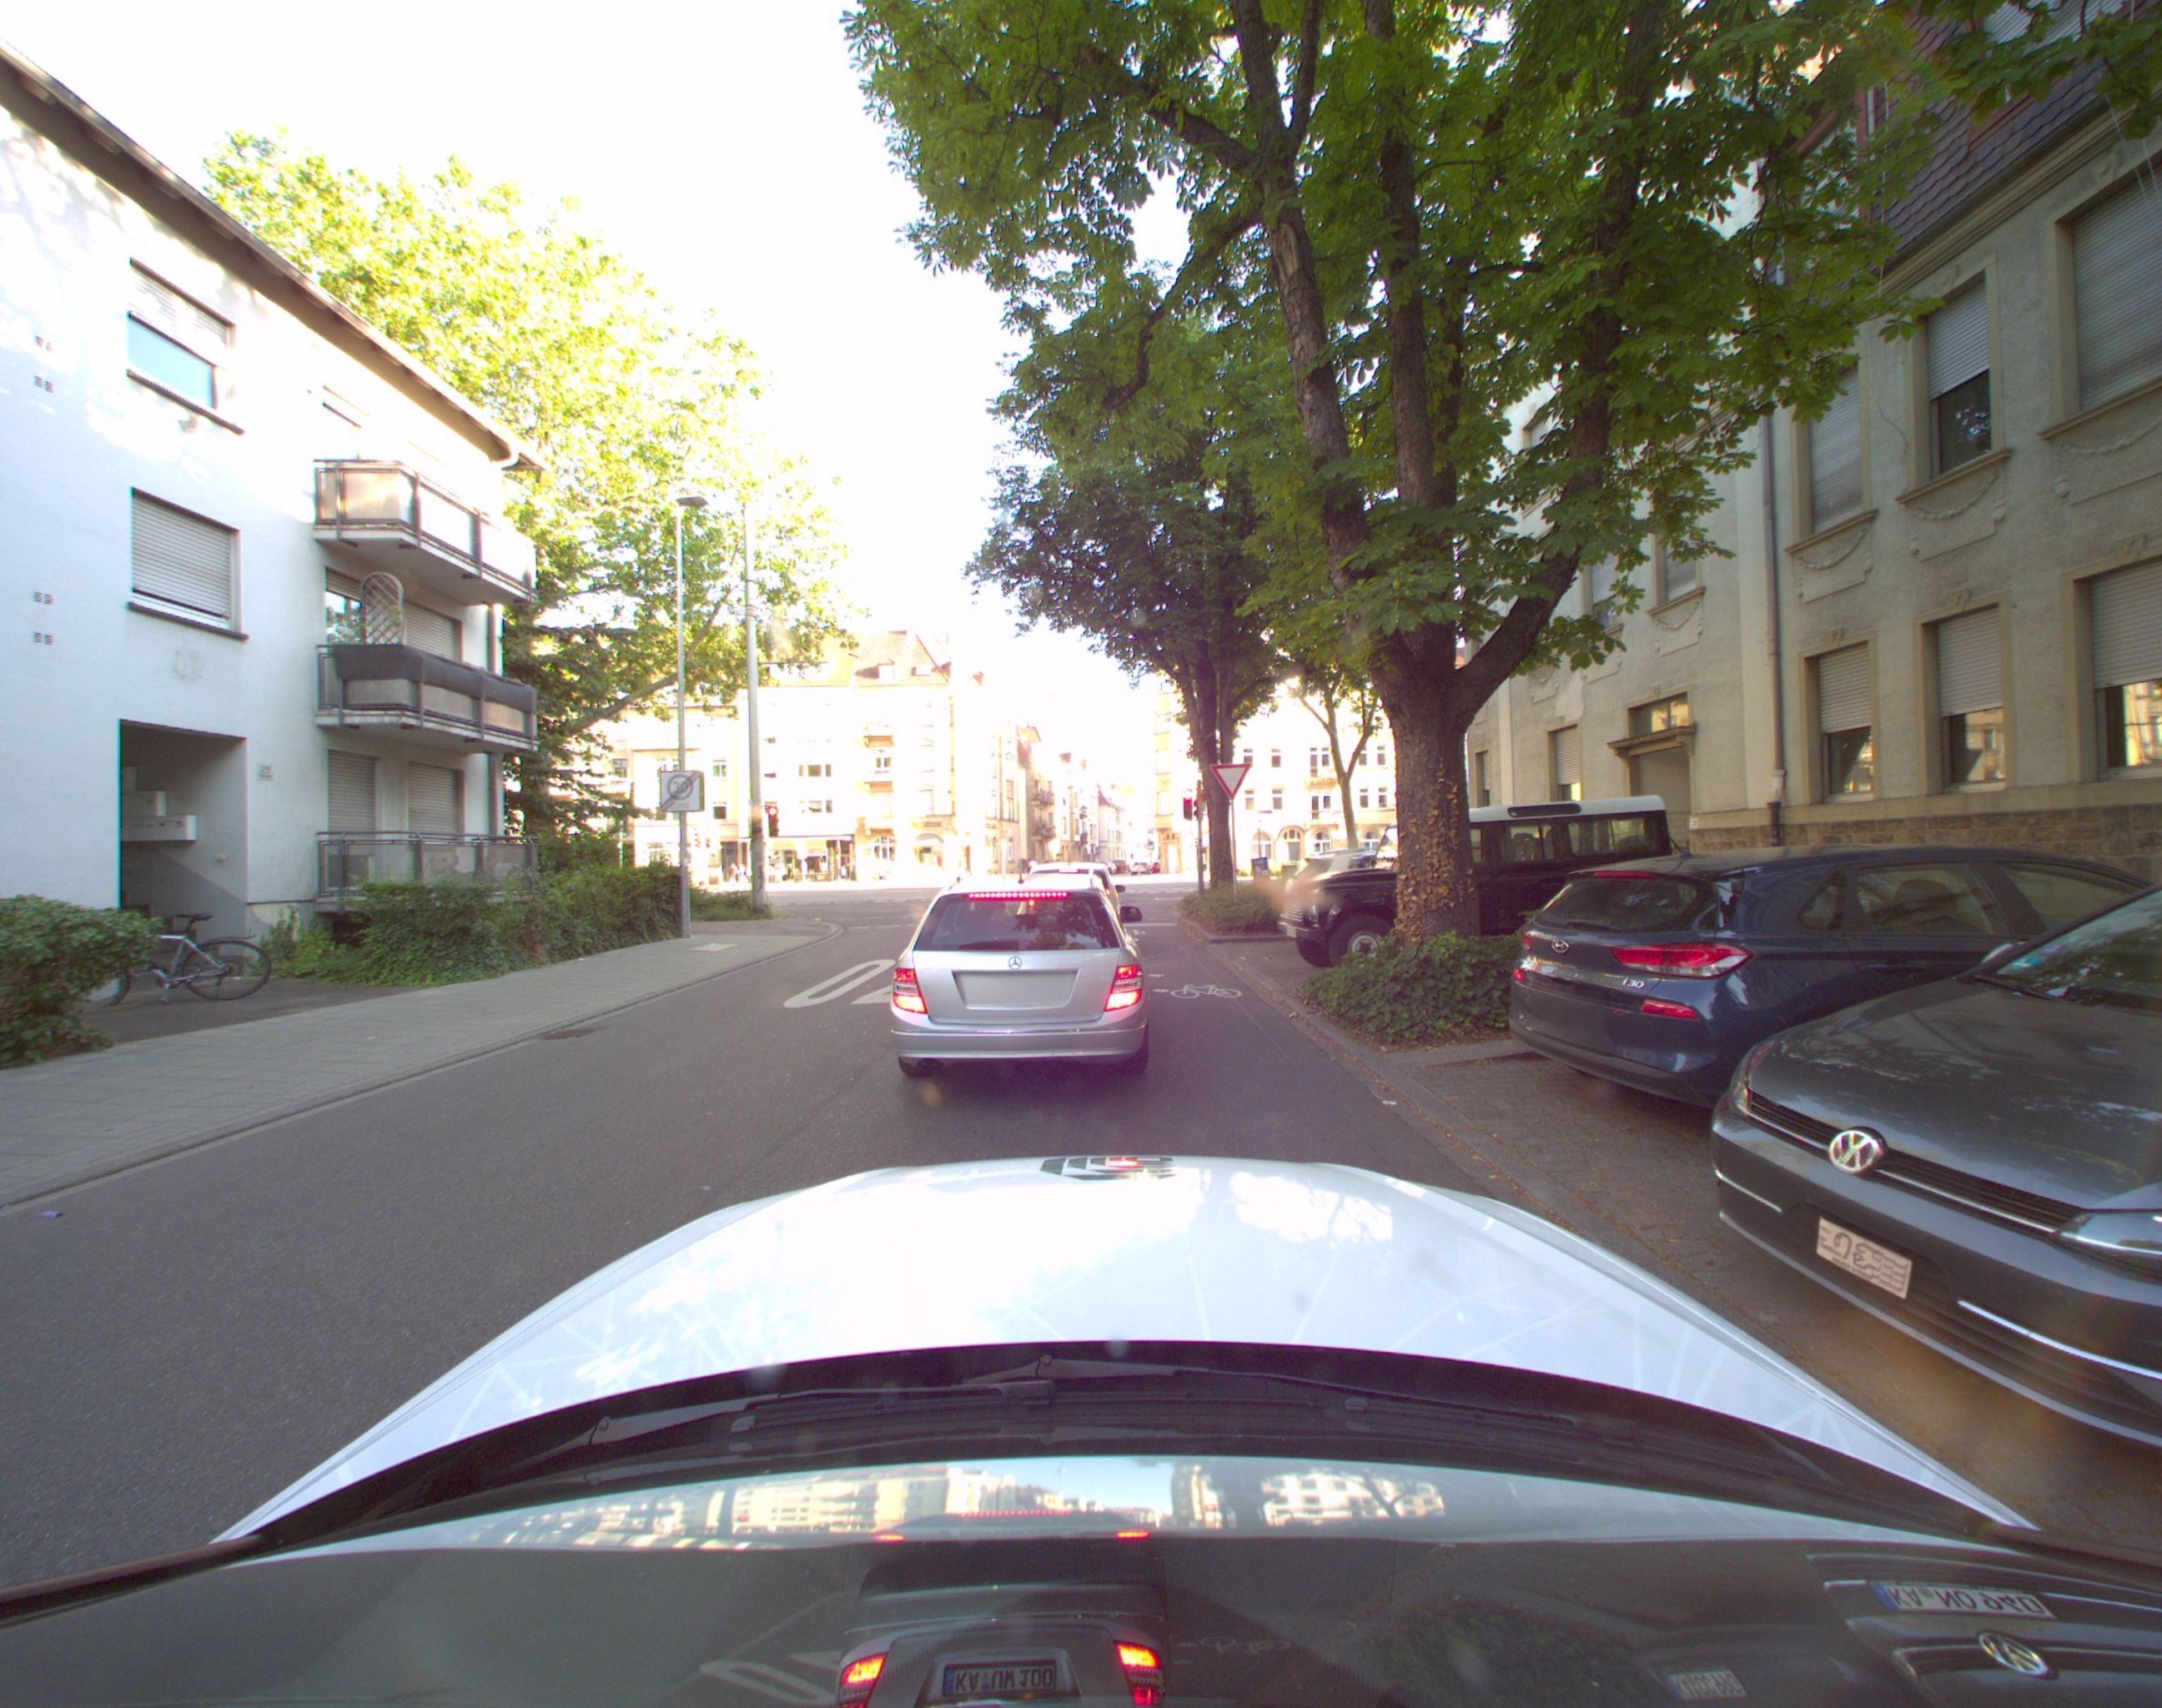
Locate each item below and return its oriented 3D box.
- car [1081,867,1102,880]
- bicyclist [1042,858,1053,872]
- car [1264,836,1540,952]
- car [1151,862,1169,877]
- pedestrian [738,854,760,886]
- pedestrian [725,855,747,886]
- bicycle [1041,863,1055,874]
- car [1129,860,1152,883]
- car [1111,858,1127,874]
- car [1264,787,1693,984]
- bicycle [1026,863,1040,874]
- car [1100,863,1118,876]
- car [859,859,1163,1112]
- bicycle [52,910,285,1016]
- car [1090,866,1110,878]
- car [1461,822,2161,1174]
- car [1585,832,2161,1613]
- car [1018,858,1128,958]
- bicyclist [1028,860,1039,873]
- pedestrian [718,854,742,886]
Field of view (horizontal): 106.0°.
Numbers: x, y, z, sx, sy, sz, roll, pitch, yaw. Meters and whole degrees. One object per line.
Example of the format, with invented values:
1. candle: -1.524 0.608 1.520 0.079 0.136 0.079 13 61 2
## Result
1. car: 1.329 2.285 97.168 1.824 1.402 4.012 -1 0 10
2. bicyclist: -3.003 1.014 73.710 0.765 1.290 0.755 -1 0 13
3. car: 5.031 0.607 13.093 3.714 1.570 1.707 -3 -1 -2
4. car: 9.880 1.887 101.862 1.824 1.744 4.012 -1 0 10
5. pedestrian: -26.392 1.278 64.775 1.343 2.464 1.059 -1 0 -3
6. pedestrian: -27.683 1.290 65.362 1.343 2.464 1.059 -1 0 -3
7. bicycle: -2.999 1.308 73.707 0.765 0.934 1.947 -1 0 13
8. car: 6.309 1.798 85.906 2.018 2.279 4.012 -1 0 10
9. car: 5.485 1.699 117.404 1.776 2.204 4.012 -1 0 10
10. car: 4.742 0.357 10.133 4.453 2.036 1.700 -3 -1 -2
11. bicycle: -4.321 1.325 73.651 0.765 0.940 1.947 -1 0 13
12. car: 3.712 2.049 108.845 1.824 1.663 4.012 -1 0 10
13. car: -0.402 0.789 7.087 1.771 1.452 4.547 -1 0 0
14. bicycle: -9.994 1.160 9.012 1.630 1.008 0.511 2 -2 -39
15. car: 2.400 2.237 102.638 1.824 1.402 4.012 -1 0 10
16. car: 4.398 0.625 4.559 3.714 1.452 1.707 -3 -1 -2
17. car: 4.033 0.641 2.388 4.042 1.452 1.722 -3 -1 -2
18. car: -0.107 0.805 14.175 1.614 1.447 4.344 -1 0 0
19. bicyclist: -4.304 1.104 73.730 0.765 1.156 0.755 -1 0 13
20. pedestrian: -27.460 1.262 63.749 1.343 2.464 1.059 -1 0 -3
